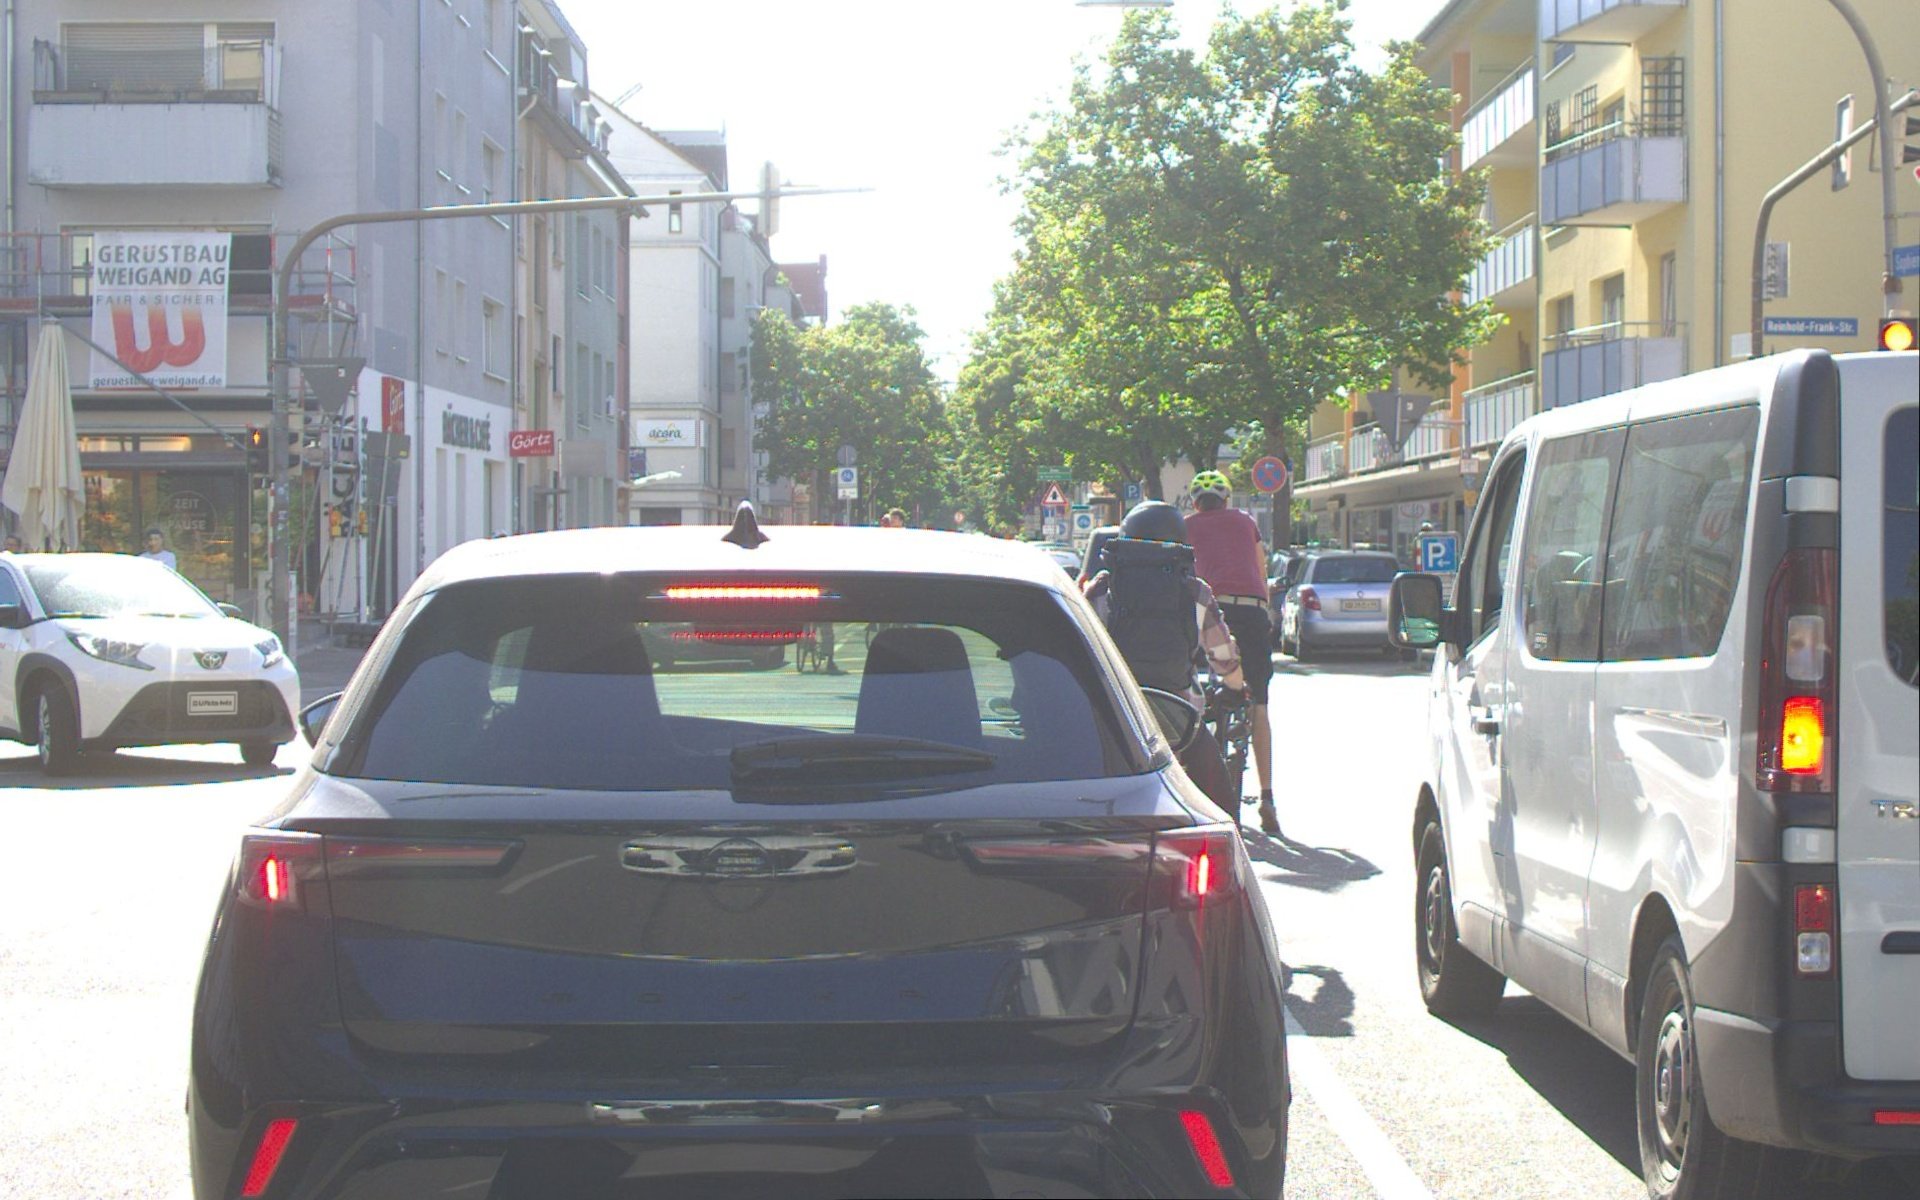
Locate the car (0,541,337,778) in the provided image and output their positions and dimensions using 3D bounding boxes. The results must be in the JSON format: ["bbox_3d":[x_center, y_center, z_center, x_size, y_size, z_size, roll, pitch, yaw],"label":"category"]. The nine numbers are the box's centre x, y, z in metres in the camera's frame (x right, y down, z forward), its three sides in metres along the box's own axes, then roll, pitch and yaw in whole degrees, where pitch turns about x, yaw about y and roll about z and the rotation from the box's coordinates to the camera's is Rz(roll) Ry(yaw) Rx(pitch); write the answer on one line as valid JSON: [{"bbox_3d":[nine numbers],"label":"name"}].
[{"bbox_3d":[-6.199,0.353,24.281,1.766,1.531,3.784,-1,1,-43],"label":"car"}]

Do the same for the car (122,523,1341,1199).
[{"bbox_3d":[-0.406,0.615,7.012,1.770,1.525,4.001,0,1,-2],"label":"car"}]

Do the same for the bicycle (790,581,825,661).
[{"bbox_3d":[-1.967,0.263,44.412,0.443,0.989,2.069,0,1,-2],"label":"bicycle"}]

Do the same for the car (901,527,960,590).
[{"bbox_3d":[-0.949,-1.347,111.113,1.855,2.007,3.881,0,1,0],"label":"car"}]

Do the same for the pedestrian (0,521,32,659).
[{"bbox_3d":[-10.670,-0.118,38.147,0.584,1.516,0.650,0,1,-3],"label":"pedestrian"}]

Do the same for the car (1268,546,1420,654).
[{"bbox_3d":[5.296,-0.037,47.814,1.634,1.428,3.957,0,1,0],"label":"car"}]

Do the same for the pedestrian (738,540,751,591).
[{"bbox_3d":[-7.065,-1.145,112.915,0.402,1.669,0.418,0,1,0],"label":"pedestrian"}]

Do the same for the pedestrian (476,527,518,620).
[{"bbox_3d":[-7.568,-0.437,56.177,0.617,1.516,0.725,0,1,-3],"label":"pedestrian"}]

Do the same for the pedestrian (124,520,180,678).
[{"bbox_3d":[-9.102,-0.016,38.738,0.561,1.769,0.584,0,1,-9],"label":"pedestrian"}]

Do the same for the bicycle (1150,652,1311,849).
[{"bbox_3d":[1.407,0.765,18.217,0.577,0.901,2.301,0,1,-2],"label":"bicycle"}]

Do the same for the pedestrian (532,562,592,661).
[{"bbox_3d":[-5.126,0.144,44.296,0.707,1.249,0.802,0,1,-2],"label":"pedestrian"}]

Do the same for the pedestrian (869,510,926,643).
[{"bbox_3d":[-0.807,-0.303,44.132,0.707,1.695,0.802,0,1,-2],"label":"pedestrian"}]

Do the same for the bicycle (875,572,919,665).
[{"bbox_3d":[-0.819,0.224,44.374,0.521,1.143,2.170,0,1,-2],"label":"bicycle"}]

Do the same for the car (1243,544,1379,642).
[{"bbox_3d":[5.335,-0.139,52.575,1.634,1.428,4.000,0,1,0],"label":"car"}]

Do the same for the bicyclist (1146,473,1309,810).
[{"bbox_3d":[1.393,0.199,18.109,0.689,1.707,1.414,0,1,-2],"label":"bicyclist"}]

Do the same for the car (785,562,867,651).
[{"bbox_3d":[-3.129,0.117,80.940,1.849,2.007,4.000,0,1,-1],"label":"car"}]

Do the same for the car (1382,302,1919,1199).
[{"bbox_3d":[2.487,0.408,9.072,1.993,1.972,4.895,2,1,-1],"label":"car"}]

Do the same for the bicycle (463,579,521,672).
[{"bbox_3d":[-6.052,0.312,44.549,0.521,1.143,2.284,0,1,-2],"label":"bicycle"}]

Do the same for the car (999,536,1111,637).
[{"bbox_3d":[1.654,-0.270,61.263,1.902,1.722,4.000,0,1,0],"label":"car"}]

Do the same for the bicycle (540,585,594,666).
[{"bbox_3d":[-5.085,0.317,44.555,0.521,0.989,2.339,0,1,-2],"label":"bicycle"}]

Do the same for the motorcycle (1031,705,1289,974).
[{"bbox_3d":[0.715,0.861,12.886,0.825,0.842,1.885,0,1,-1],"label":"motorcycle"}]

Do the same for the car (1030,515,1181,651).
[{"bbox_3d":[1.901,-0.258,45.588,1.902,1.722,4.073,0,1,2],"label":"car"}]

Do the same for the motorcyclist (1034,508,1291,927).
[{"bbox_3d":[0.736,0.411,12.861,0.864,1.497,1.160,0,1,-1],"label":"motorcyclist"}]

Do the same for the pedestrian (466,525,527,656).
[{"bbox_3d":[-5.966,-0.132,44.296,0.707,1.672,0.802,0,1,-2],"label":"pedestrian"}]

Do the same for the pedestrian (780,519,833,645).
[{"bbox_3d":[-1.975,-0.239,44.263,0.680,1.600,0.762,0,1,-2],"label":"pedestrian"}]
